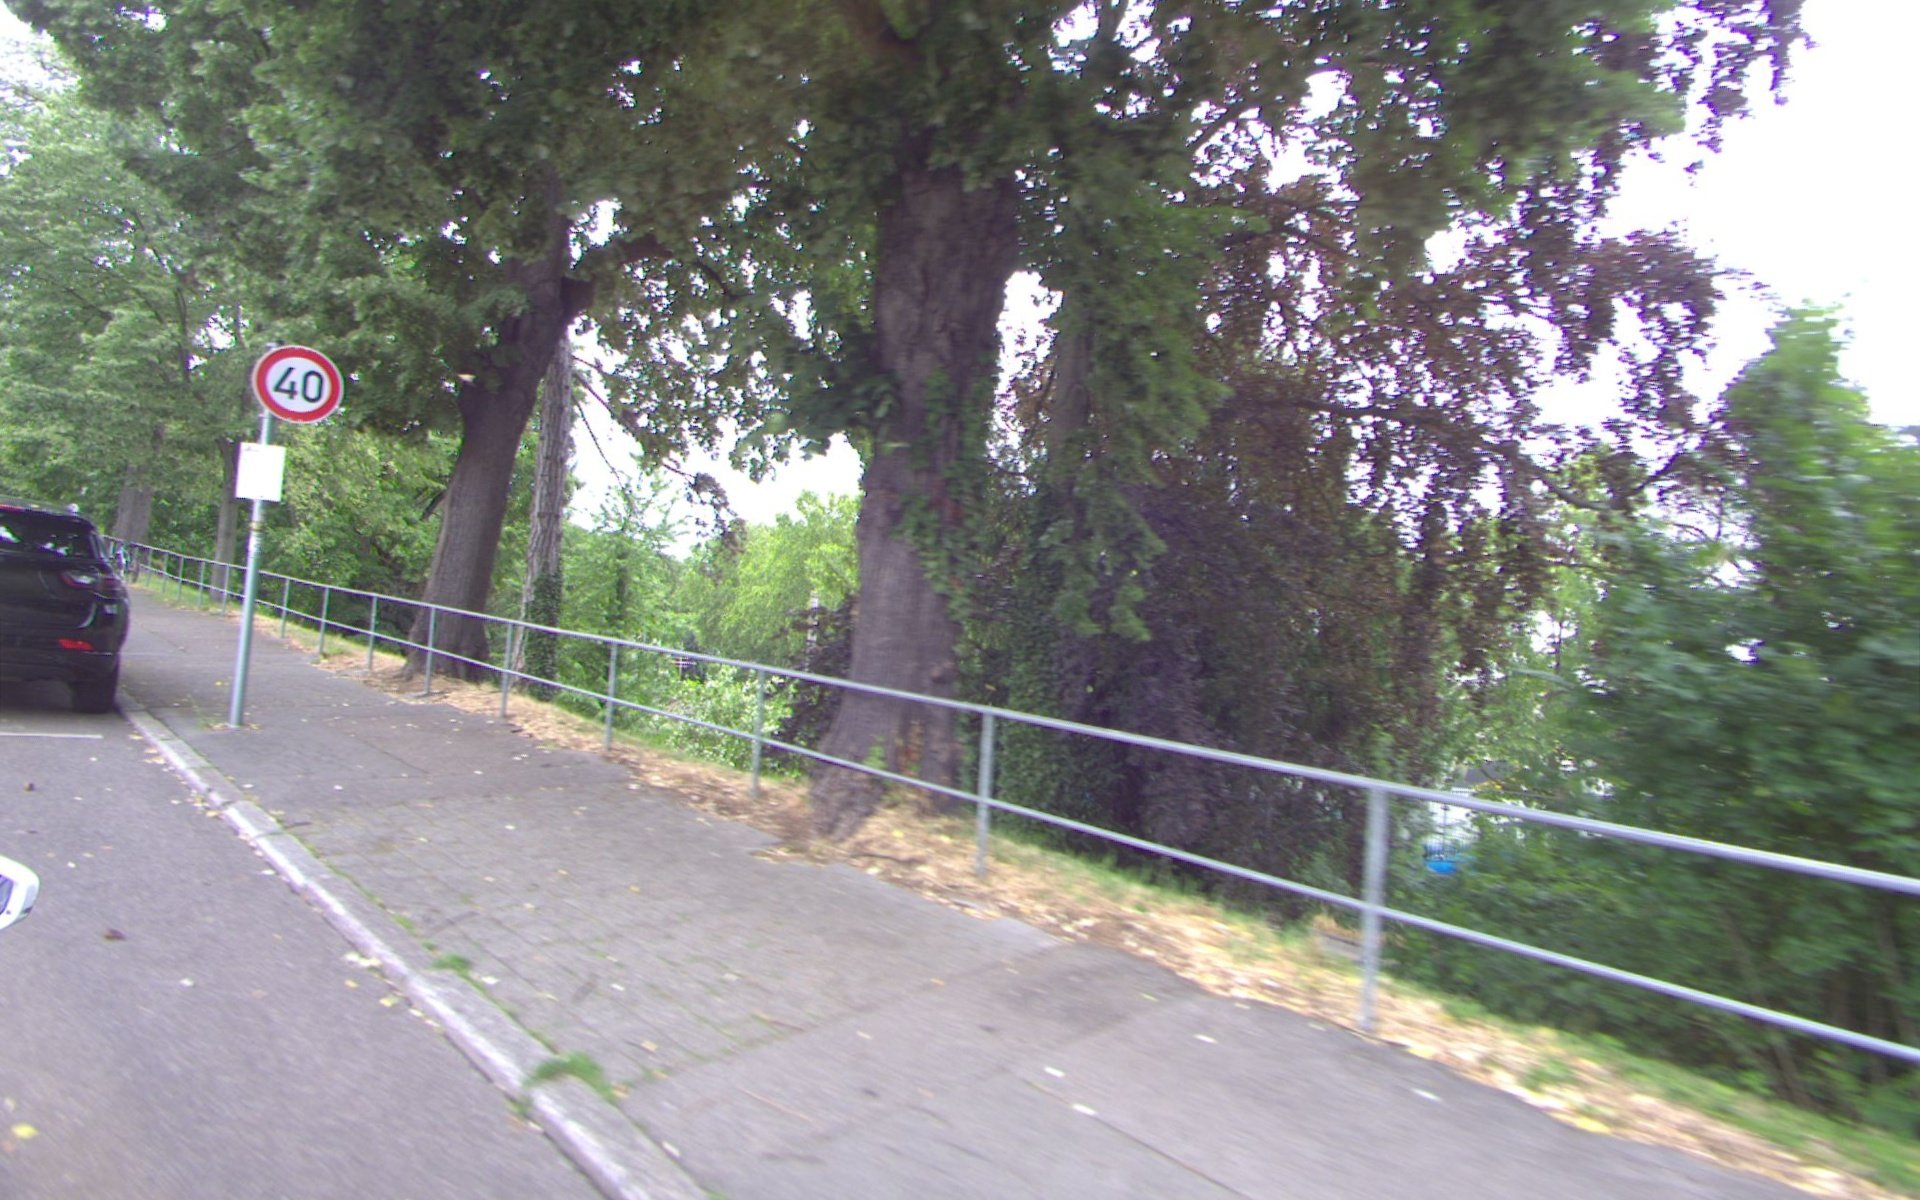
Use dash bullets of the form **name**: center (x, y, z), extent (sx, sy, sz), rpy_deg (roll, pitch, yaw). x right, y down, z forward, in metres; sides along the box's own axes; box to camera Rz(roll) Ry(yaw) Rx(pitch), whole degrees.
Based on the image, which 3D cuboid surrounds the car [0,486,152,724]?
- **car**: center (-8.461, -0.138, 8.516), extent (4.541, 1.633, 1.901), rpy_deg (5, -3, 45)

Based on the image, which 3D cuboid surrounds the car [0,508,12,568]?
- **car**: center (-19.521, -1.117, 19.083), extent (4.032, 1.648, 1.727), rpy_deg (6, -5, 42)

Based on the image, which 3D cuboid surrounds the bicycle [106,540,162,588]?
- **bicycle**: center (-19.376, -0.860, 23.594), extent (1.766, 0.987, 0.427), rpy_deg (5, -2, 34)

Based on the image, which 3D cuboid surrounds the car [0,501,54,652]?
- **car**: center (-12.173, -0.449, 11.879), extent (4.307, 1.594, 1.731), rpy_deg (5, -2, 43)

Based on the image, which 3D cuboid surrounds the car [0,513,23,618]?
- **car**: center (-16.089, -0.740, 15.707), extent (4.008, 1.532, 1.629), rpy_deg (5, -4, 42)
